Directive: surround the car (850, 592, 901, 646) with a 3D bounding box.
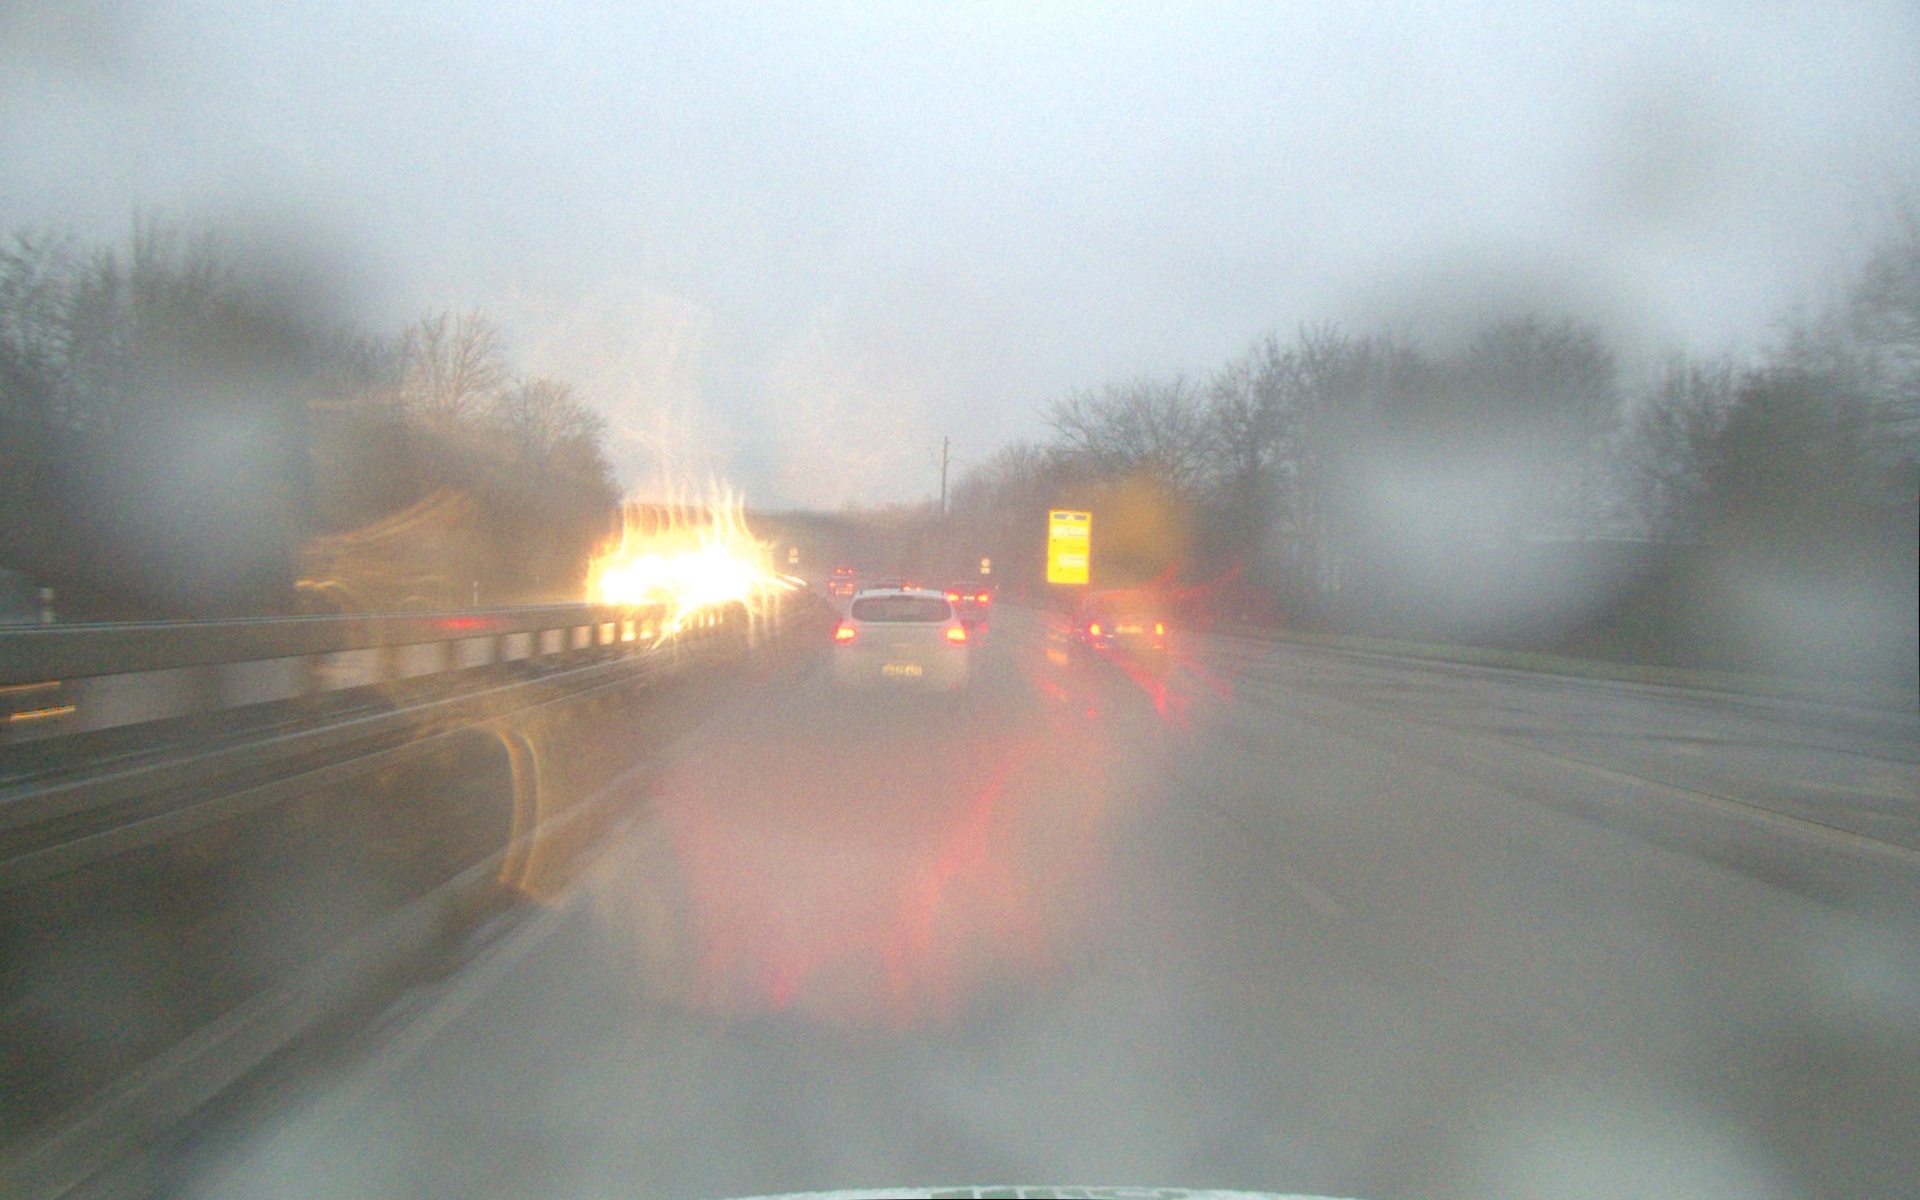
[{"bbox_3d":[-3.428,0.755,66.900,1.954,2.049,3.997,2,0,-3],"label":"car"}]

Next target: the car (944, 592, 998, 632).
[{"bbox_3d":[0.447,0.549,72.258,1.895,1.573,3.769,-4,-1,-6],"label":"car"}]

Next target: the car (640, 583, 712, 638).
[{"bbox_3d":[-8.517,0.306,49.873,1.620,1.545,3.503,2,0,-2],"label":"car"}]

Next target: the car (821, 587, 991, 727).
[{"bbox_3d":[-0.668,0.676,21.771,1.983,1.602,3.999,2,0,-1],"label":"car"}]

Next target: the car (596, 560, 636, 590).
[{"bbox_3d":[-22.802,-1.616,109.764,1.843,1.864,4.783,2,0,-4],"label":"car"}]

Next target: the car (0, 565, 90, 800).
[{"bbox_3d":[-6.913,0.504,9.371,1.583,1.510,4.598,2,0,-1],"label":"car"}]

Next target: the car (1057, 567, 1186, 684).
[{"bbox_3d":[3.036,0.463,31.792,1.894,2.054,3.771,2,0,-3],"label":"car"}]
